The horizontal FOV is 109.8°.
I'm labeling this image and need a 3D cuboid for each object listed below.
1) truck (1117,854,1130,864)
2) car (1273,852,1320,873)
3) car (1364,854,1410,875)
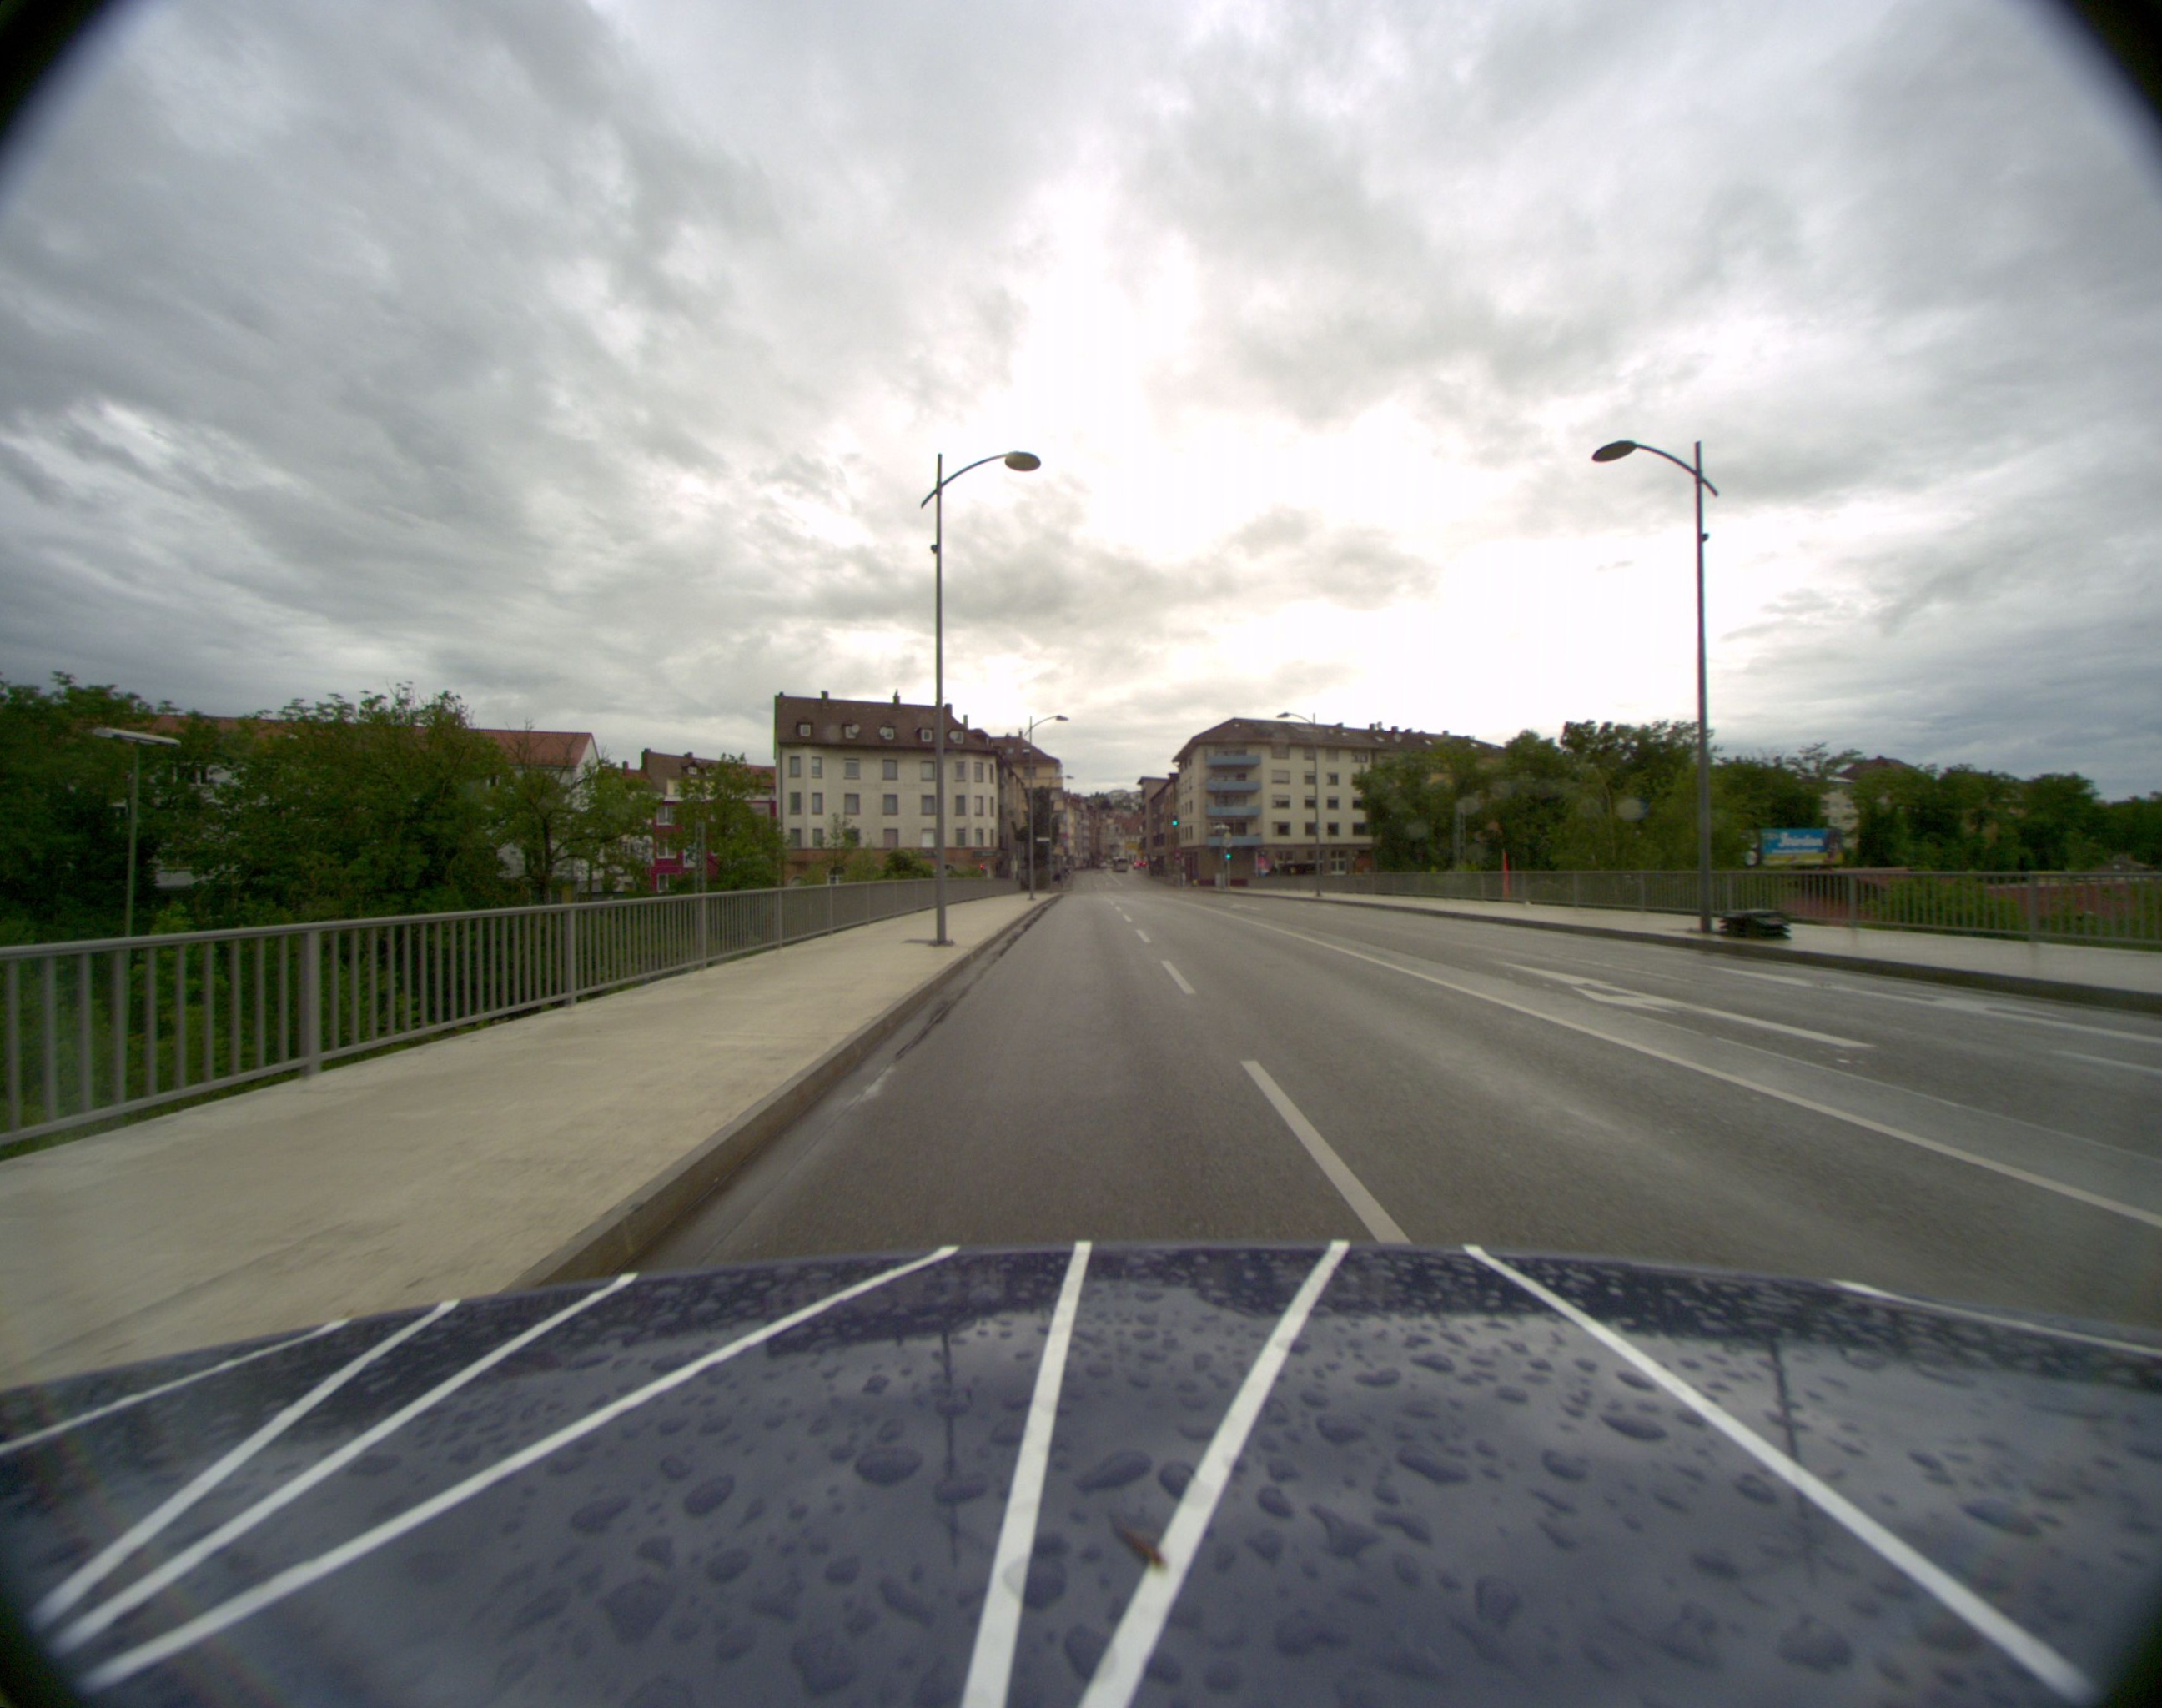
[{"bbox_3d":[8.912,0.957,158.900,2.475,2.002,4.820,-2,0,0],"label":"truck"},{"bbox_3d":[23.127,0.904,81.683,4.359,2.002,2.131,-2,0,-20],"label":"car"},{"bbox_3d":[31.679,1.026,78.732,4.361,2.002,2.130,-2,0,-29],"label":"car"}]
